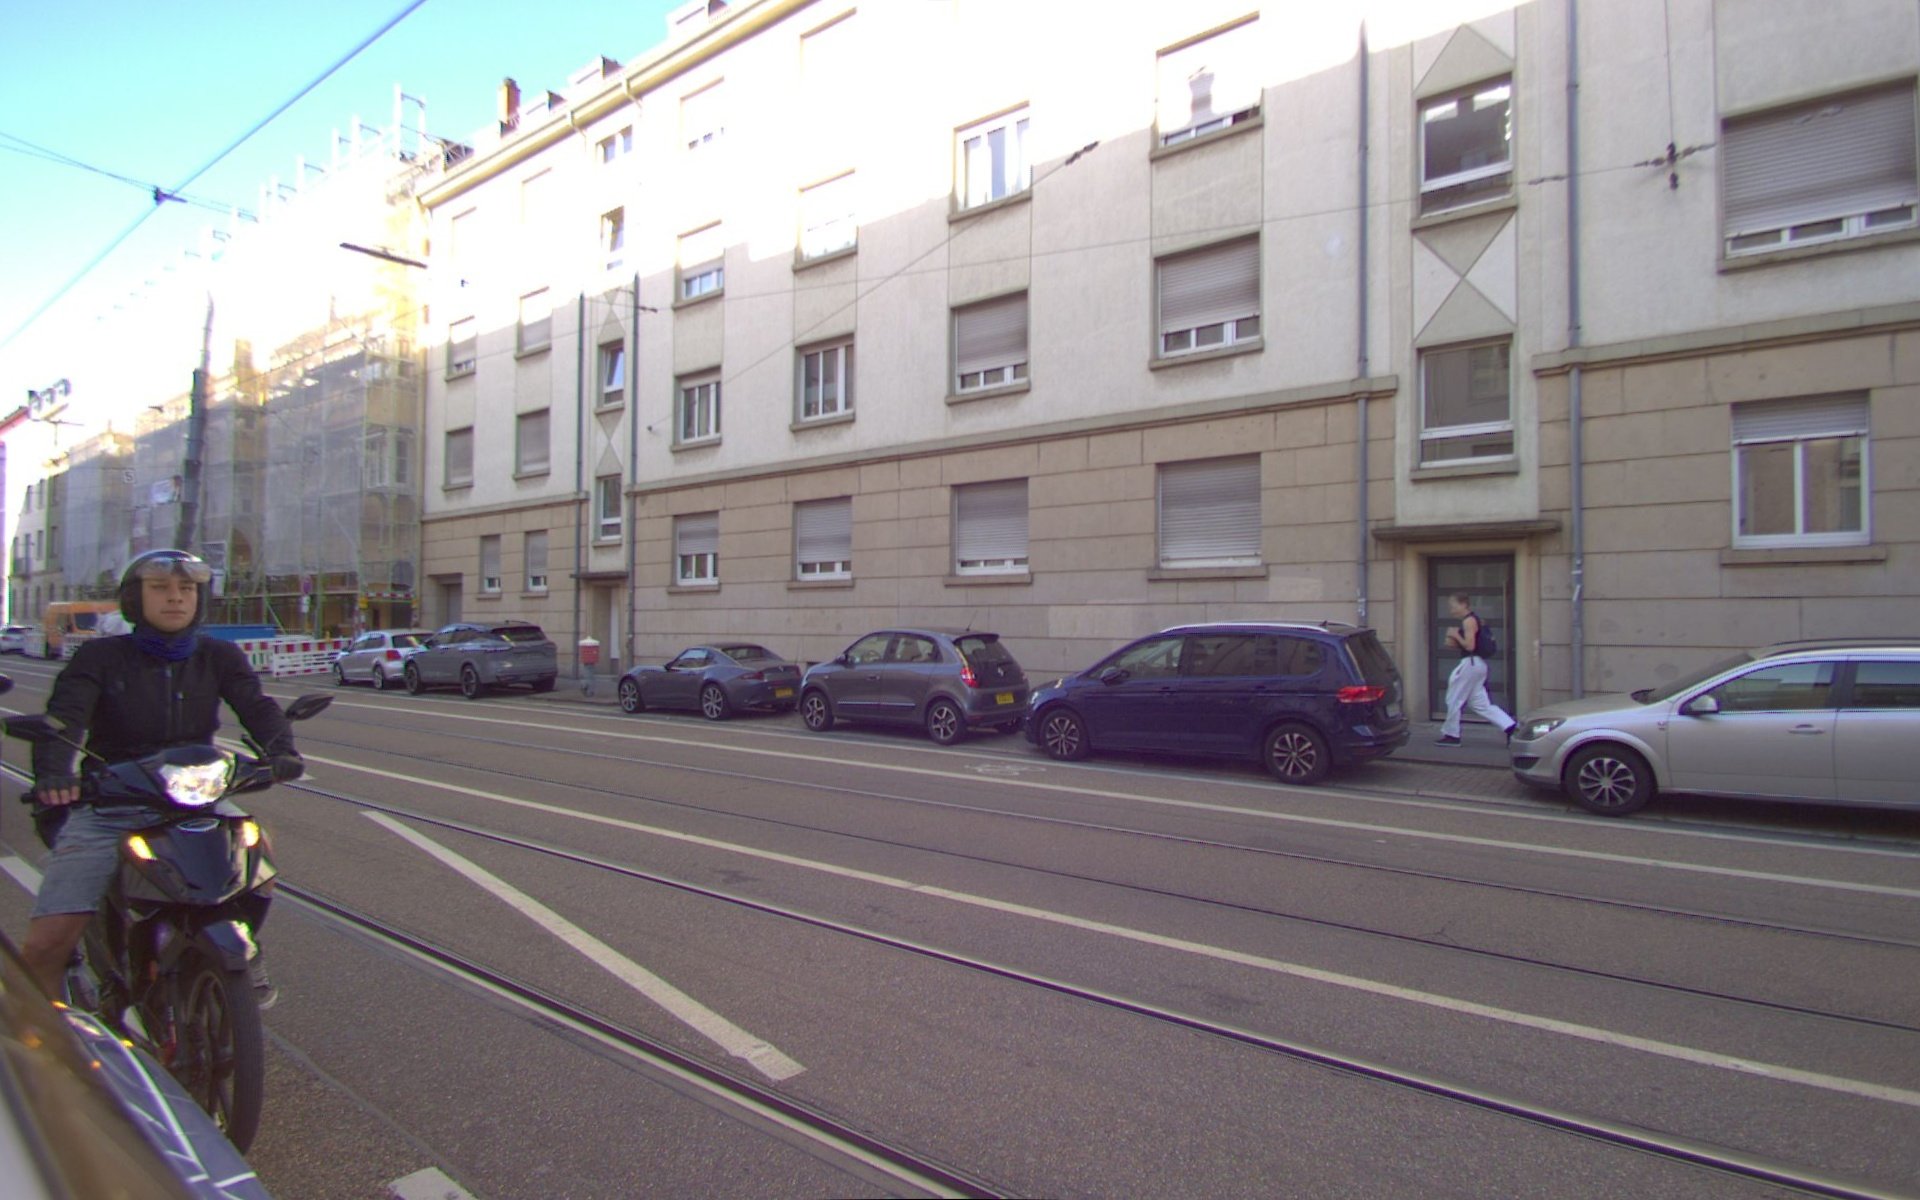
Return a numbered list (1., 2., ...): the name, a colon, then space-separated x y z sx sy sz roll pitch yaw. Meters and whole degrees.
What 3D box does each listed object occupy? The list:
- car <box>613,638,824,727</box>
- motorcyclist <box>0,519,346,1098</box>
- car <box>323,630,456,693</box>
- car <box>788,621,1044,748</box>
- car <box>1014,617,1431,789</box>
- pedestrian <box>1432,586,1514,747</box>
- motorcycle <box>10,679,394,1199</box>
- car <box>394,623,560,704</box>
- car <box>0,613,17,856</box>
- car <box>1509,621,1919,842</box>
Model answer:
1. car: -4.218 1.350 17.522 3.483 1.286 1.730 -1 0 37
2. motorcyclist: -2.494 0.544 3.144 0.598 1.516 0.851 -1 0 41
3. car: -14.359 1.492 25.420 3.639 1.402 1.617 -1 0 37
4. car: -0.699 1.115 14.719 3.493 1.584 1.650 -1 0 38
5. car: 2.925 1.019 11.710 4.285 1.597 1.887 -1 0 37
6. pedestrian: 6.114 0.766 12.059 0.733 1.846 0.592 -1 0 41
7. motorcycle: -2.385 0.912 3.071 1.980 1.228 0.532 -1 0 41
8. car: -10.850 1.346 22.641 4.108 1.603 1.691 -1 0 38
9. car: -8.008 0.858 7.016 3.997 1.515 1.670 -2 -3 40
10. car: 7.243 0.990 8.521 4.358 1.571 1.975 -1 0 38
